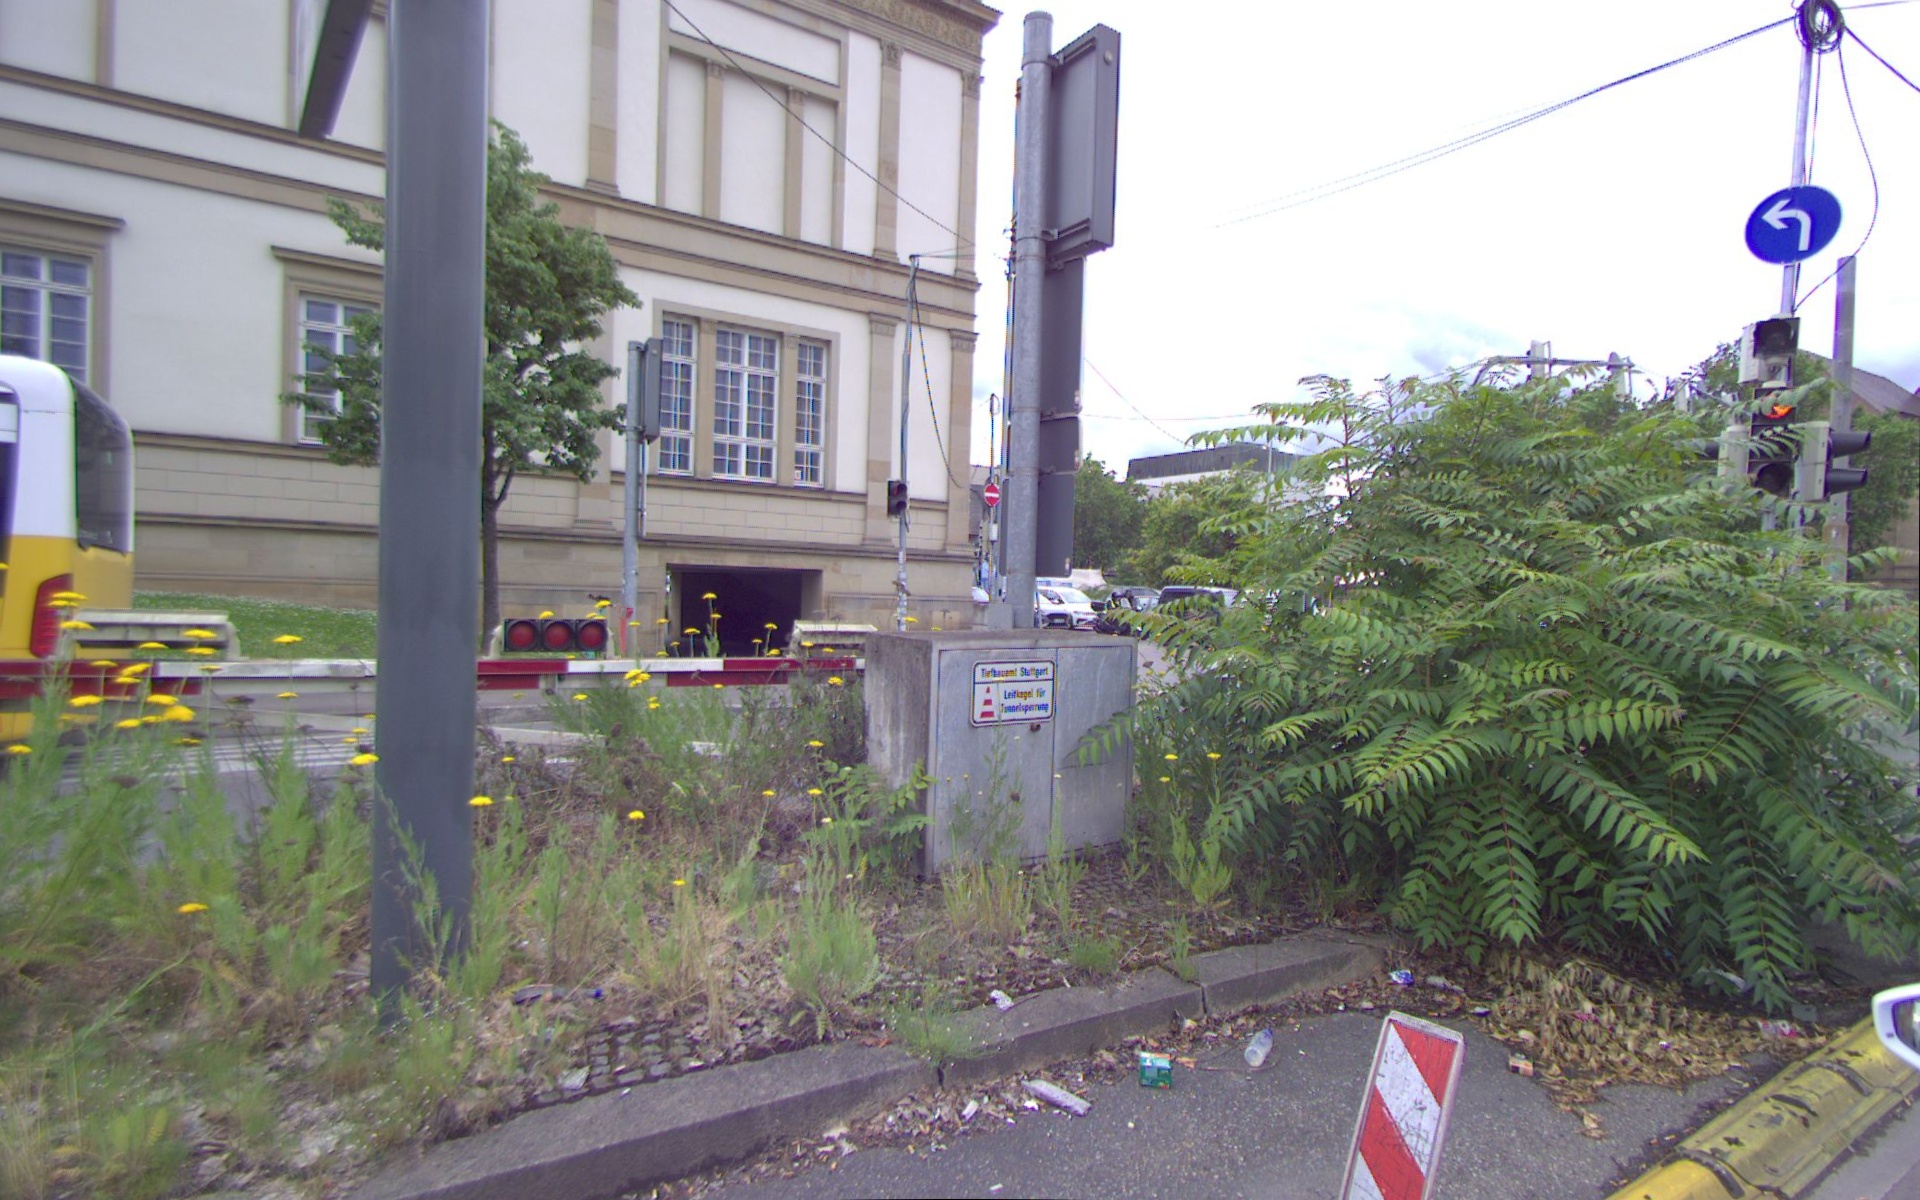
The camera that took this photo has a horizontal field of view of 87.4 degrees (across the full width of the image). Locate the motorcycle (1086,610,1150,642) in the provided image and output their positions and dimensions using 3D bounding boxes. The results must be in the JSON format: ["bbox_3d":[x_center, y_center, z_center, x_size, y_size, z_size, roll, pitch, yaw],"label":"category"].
[{"bbox_3d":[5.104,0.825,32.640,0.690,0.953,2.335,2,0,-32],"label":"motorcycle"}]

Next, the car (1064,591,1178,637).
[{"bbox_3d":[5.904,0.508,37.225,1.978,1.568,4.084,2,0,-32],"label":"car"}]

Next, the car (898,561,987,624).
[{"bbox_3d":[-0.820,-0.328,43.613,1.978,2.585,4.083,2,0,-32],"label":"car"}]

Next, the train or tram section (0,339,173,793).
[{"bbox_3d":[-10.727,-0.289,5.927,9.229,3.112,2.680,1,-1,-31],"label":"train or tram section"}]

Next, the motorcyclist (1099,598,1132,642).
[{"bbox_3d":[5.056,0.654,32.733,0.690,1.398,0.784,2,0,-33],"label":"motorcyclist"}]

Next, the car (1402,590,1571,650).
[{"bbox_3d":[17.069,0.614,32.719,1.983,1.783,4.454,2,0,-39],"label":"car"}]

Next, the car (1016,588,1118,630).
[{"bbox_3d":[4.272,0.339,40.728,1.978,1.568,4.084,2,0,-32],"label":"car"}]

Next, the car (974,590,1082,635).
[{"bbox_3d":[2.482,0.442,37.558,1.978,1.568,4.083,2,0,-32],"label":"car"}]
